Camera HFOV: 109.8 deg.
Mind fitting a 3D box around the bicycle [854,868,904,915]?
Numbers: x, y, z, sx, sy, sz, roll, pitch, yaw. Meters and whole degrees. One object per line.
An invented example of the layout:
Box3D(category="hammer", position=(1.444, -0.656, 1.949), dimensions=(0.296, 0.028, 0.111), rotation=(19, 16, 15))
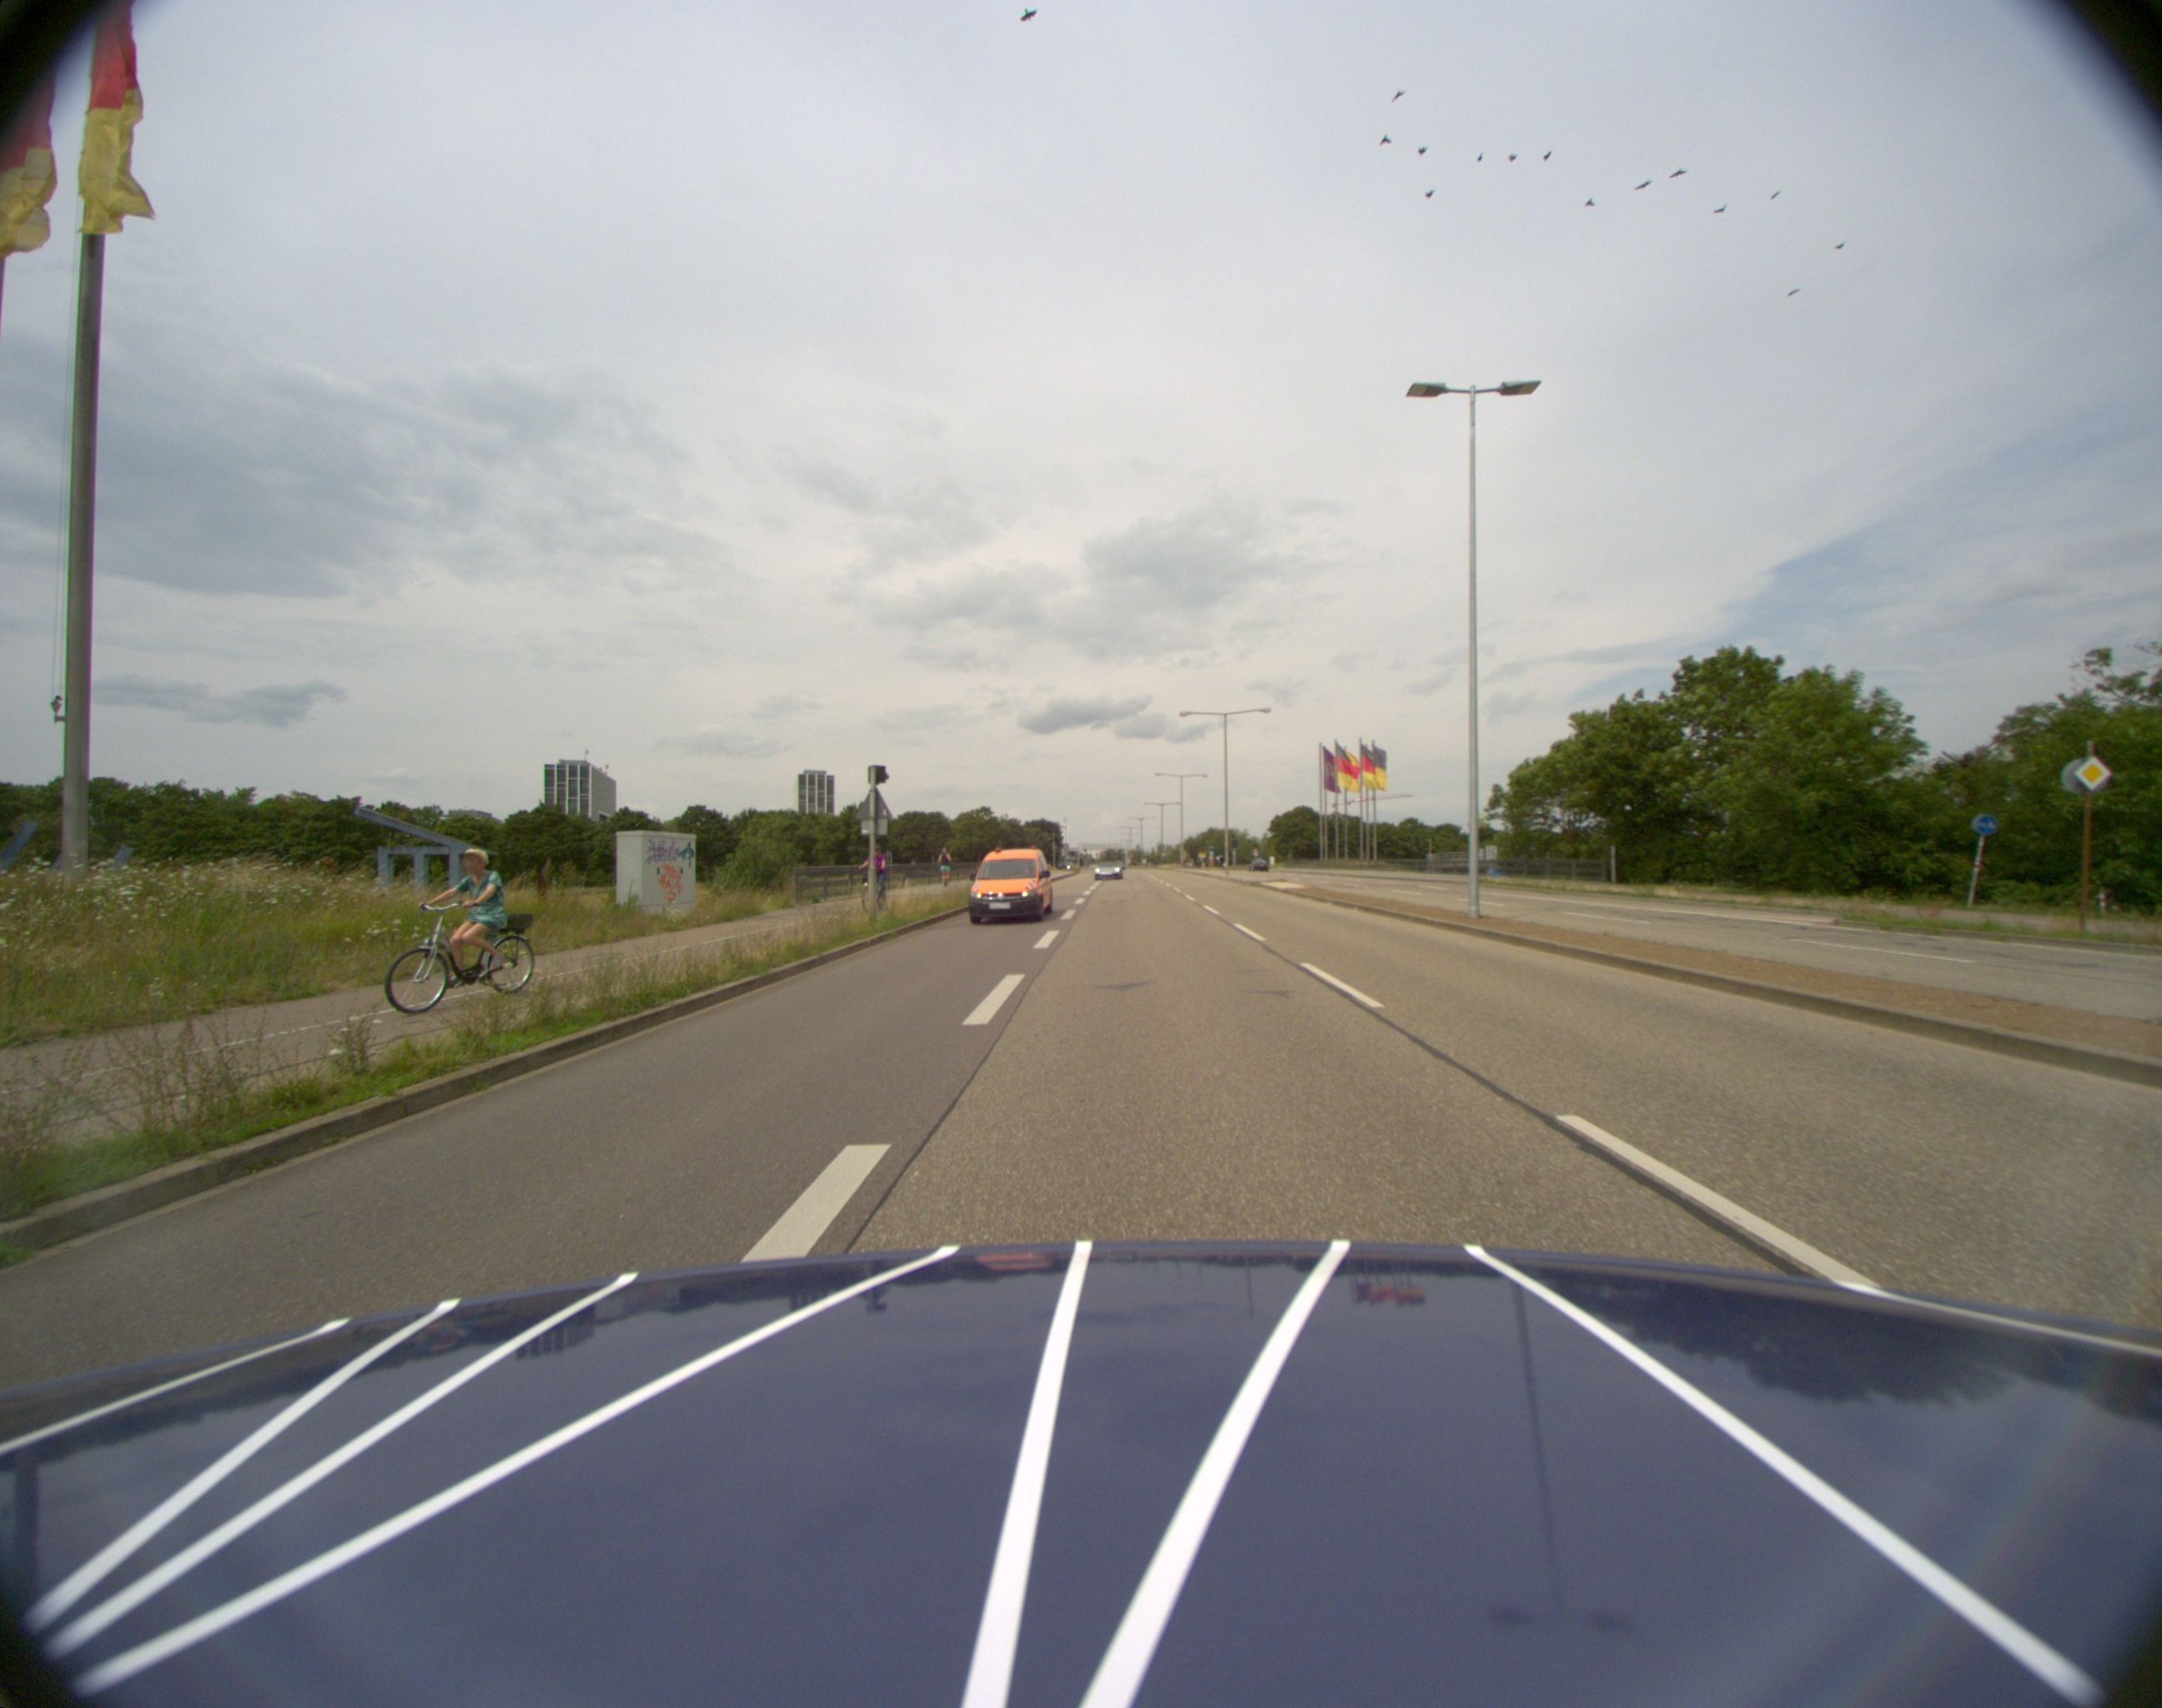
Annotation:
Box3D(category="bicycle", position=(-5.533, 0.998, 20.933), dimensions=(0.695, 1.185, 2.461), rotation=(0, 0, 1))

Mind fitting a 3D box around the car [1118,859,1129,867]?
Box3D(category="car", position=(6.968, 1.494, 124.452), dimensions=(1.558, 1.229, 3.470), rotation=(-2, -1, 1))

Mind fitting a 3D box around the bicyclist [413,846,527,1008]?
Box3D(category="bicyclist", position=(-6.560, 0.757, 8.188), dimensions=(0.623, 1.656, 0.669), rotation=(2, 0, 0))

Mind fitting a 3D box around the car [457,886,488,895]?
Box3D(category="car", position=(-101.567, 6.092, 126.798), dimensions=(3.687, 1.265, 1.676), rotation=(-1, -1, -22))

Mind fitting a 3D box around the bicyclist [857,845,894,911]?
Box3D(category="bicyclist", position=(-5.589, 0.634, 20.684), dimensions=(0.705, 1.745, 0.991), rotation=(0, 0, 1))

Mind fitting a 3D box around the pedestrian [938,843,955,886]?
Box3D(category="pedestrian", position=(-6.408, 0.497, 36.250), dimensions=(0.628, 2.001, 0.668), rotation=(1, 0, 2))

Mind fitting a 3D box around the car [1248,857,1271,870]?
Box3D(category="car", position=(20.065, 1.039, 85.551), dimensions=(1.997, 1.365, 4.579), rotation=(1, 0, 6))

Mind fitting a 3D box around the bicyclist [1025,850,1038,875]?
Box3D(category="bicyclist", position=(-3.520, 0.592, 53.935), dimensions=(0.873, 1.791, 0.956), rotation=(0, 1, -4))

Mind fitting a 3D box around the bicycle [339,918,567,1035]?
Box3D(category="bicycle", position=(-6.578, 1.233, 8.155), dimensions=(0.625, 0.883, 2.154), rotation=(-1, 0, 0))

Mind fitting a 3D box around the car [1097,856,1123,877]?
Box3D(category="car", position=(2.053, 0.914, 54.904), dimensions=(1.695, 1.403, 3.684), rotation=(-2, -1, -1))

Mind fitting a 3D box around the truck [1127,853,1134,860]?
Box3D(category="truck", position=(15.761, 0.833, 239.863), dimensions=(1.998, 2.001, 4.001), rotation=(-1, -1, 1))

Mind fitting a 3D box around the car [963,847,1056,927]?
Box3D(category="car", position=(-1.754, 0.809, 19.974), dimensions=(1.892, 1.824, 4.431), rotation=(-2, -1, 1))

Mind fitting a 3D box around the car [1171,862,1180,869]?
Box3D(category="car", position=(21.784, 2.629, 174.930), dimensions=(1.695, 1.485, 4.000), rotation=(1, -1, 0))
